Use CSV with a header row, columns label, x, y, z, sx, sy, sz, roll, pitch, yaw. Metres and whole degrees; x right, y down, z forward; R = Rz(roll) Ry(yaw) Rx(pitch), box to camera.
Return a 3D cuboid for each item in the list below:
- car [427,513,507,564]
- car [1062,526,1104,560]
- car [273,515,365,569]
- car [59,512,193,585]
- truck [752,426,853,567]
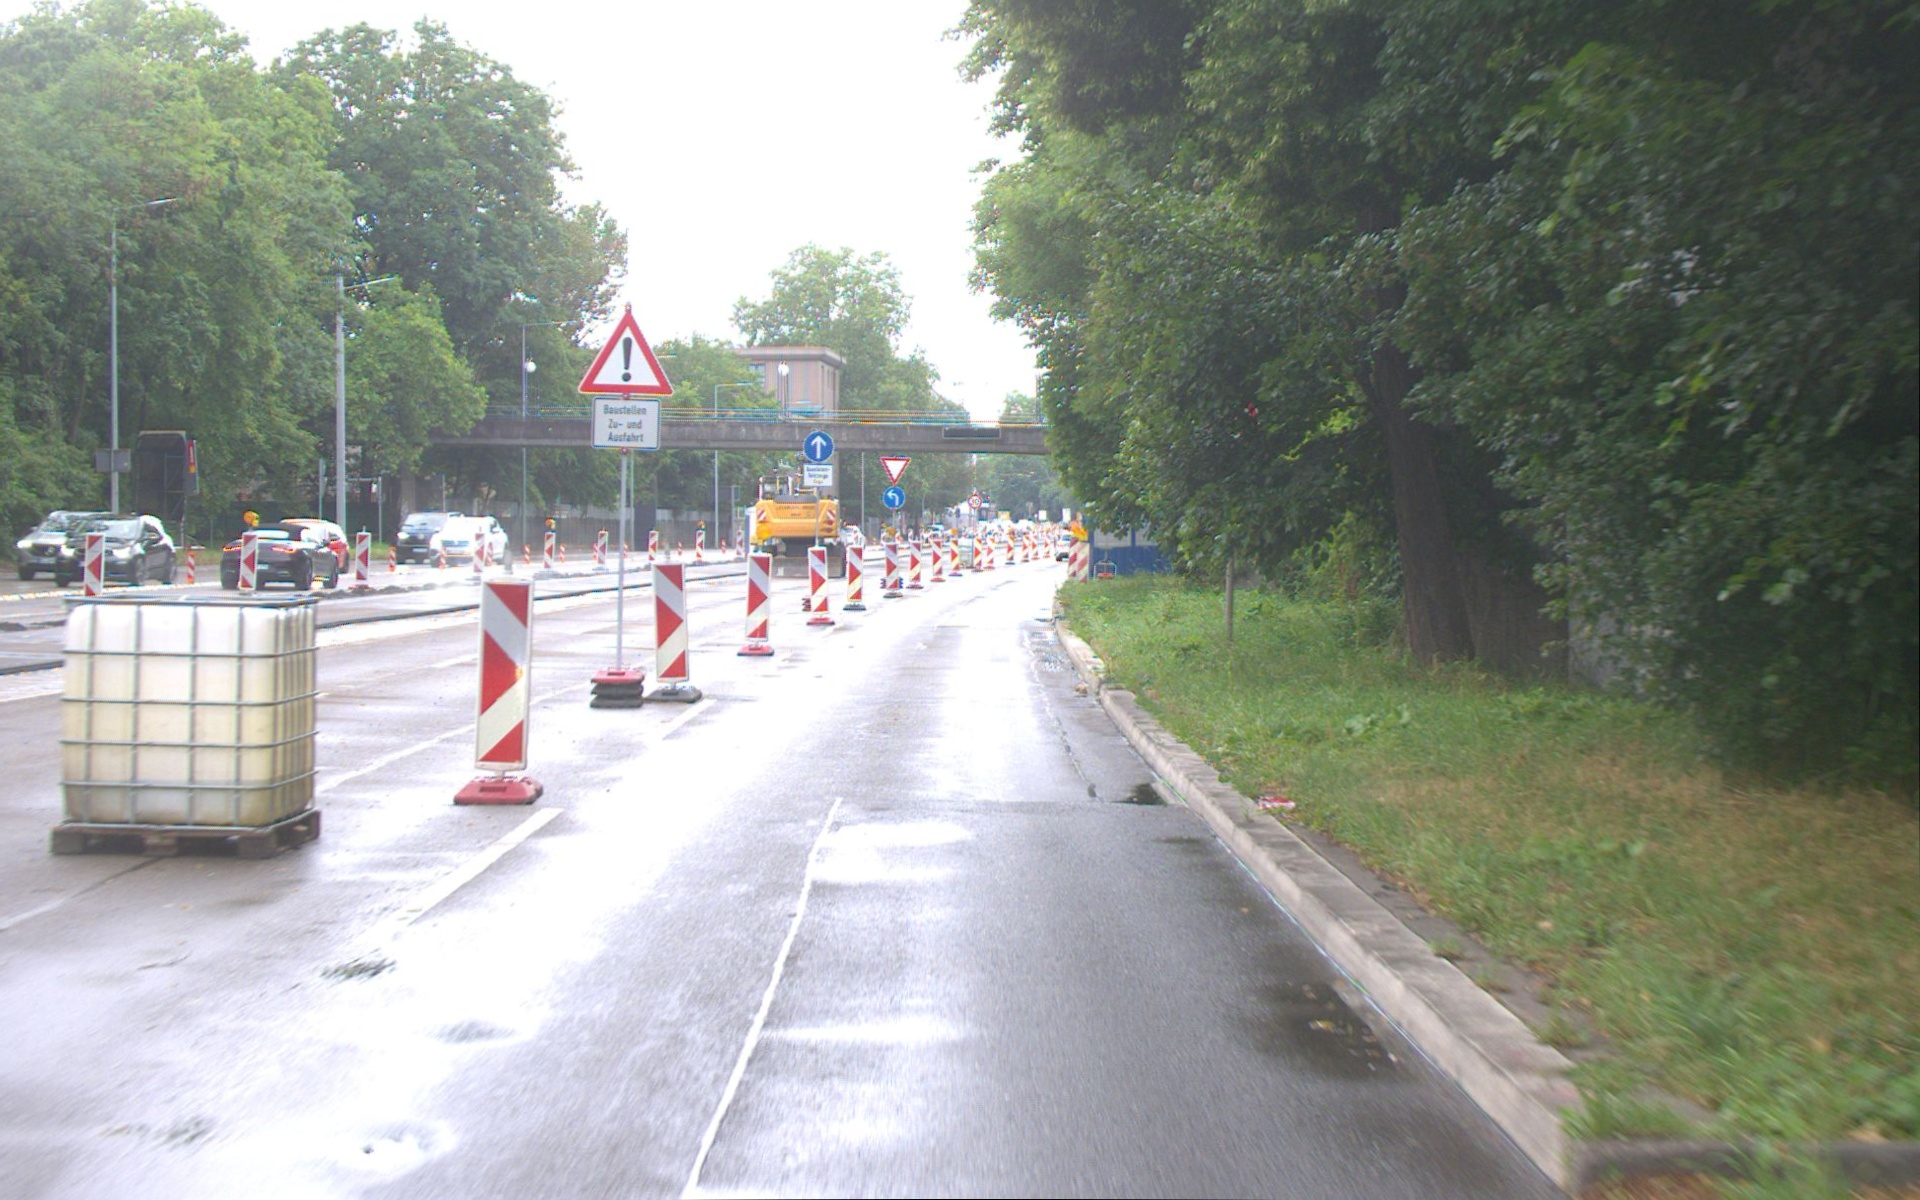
label,x,y,z,sx,sy,sz,roll,pitch,yaw
car,-16.402,-2.059,114.519,1.890,1.655,4.894,1,1,0
car,6.083,-2.806,169.813,1.994,1.634,4.000,0,1,4
car,-17.256,-1.569,92.733,1.679,1.396,4.013,1,1,1
car,-17.912,-1.127,74.010,1.776,1.482,4.197,1,1,1
truck,-4.994,-3.310,110.767,2.897,4.244,10.757,1,1,-1
